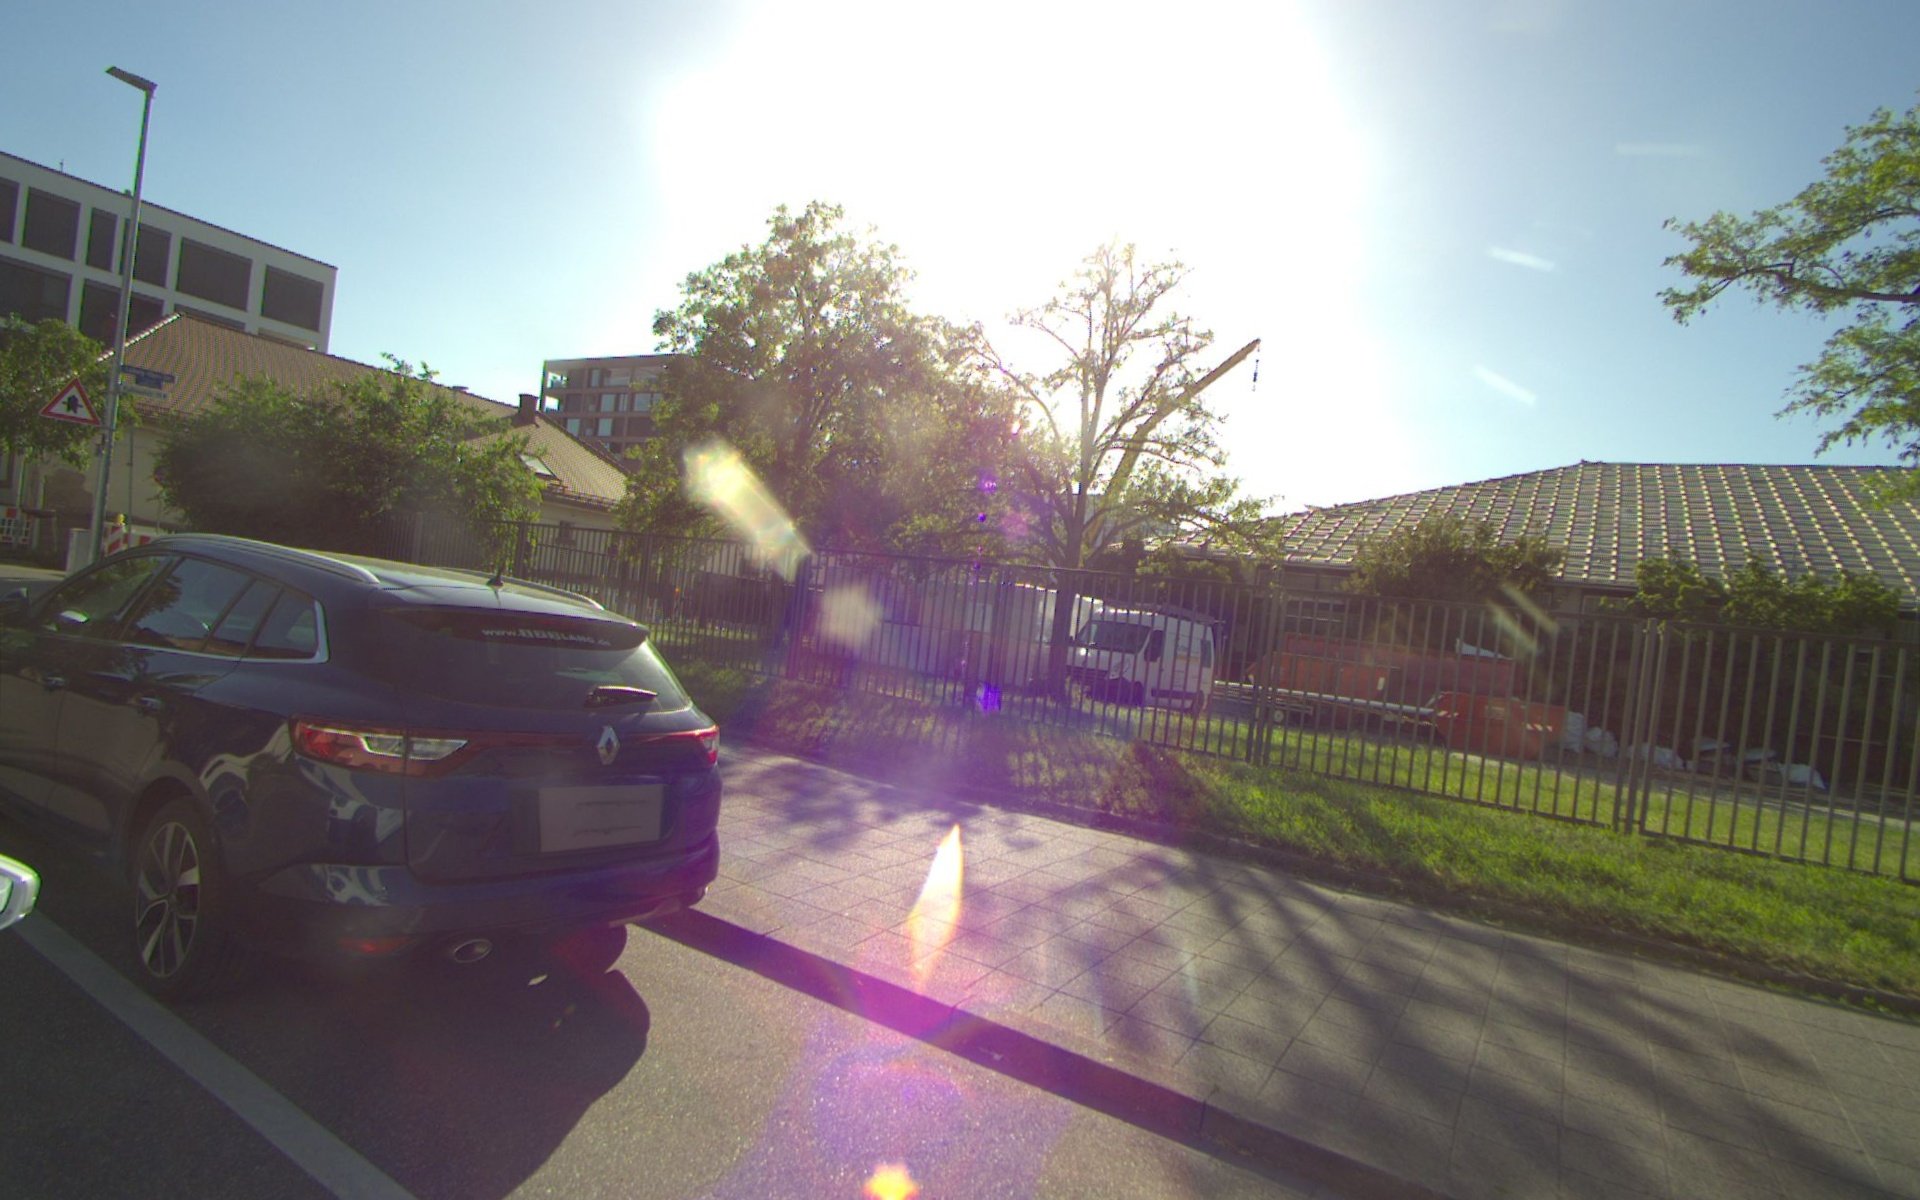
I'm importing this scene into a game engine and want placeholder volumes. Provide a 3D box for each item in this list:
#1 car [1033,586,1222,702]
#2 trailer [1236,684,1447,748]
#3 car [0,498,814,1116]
[{"bbox_3d":[4.138,1.144,24.068,1.970,2.228,5.284,8,0,38],"label":"car"},{"bbox_3d":[10.396,3.141,27.688,5.037,0.930,1.896,6,-1,41],"label":"trailer"},{"bbox_3d":[-2.887,0.464,4.480,4.145,1.471,1.819,7,0,33],"label":"car"}]
